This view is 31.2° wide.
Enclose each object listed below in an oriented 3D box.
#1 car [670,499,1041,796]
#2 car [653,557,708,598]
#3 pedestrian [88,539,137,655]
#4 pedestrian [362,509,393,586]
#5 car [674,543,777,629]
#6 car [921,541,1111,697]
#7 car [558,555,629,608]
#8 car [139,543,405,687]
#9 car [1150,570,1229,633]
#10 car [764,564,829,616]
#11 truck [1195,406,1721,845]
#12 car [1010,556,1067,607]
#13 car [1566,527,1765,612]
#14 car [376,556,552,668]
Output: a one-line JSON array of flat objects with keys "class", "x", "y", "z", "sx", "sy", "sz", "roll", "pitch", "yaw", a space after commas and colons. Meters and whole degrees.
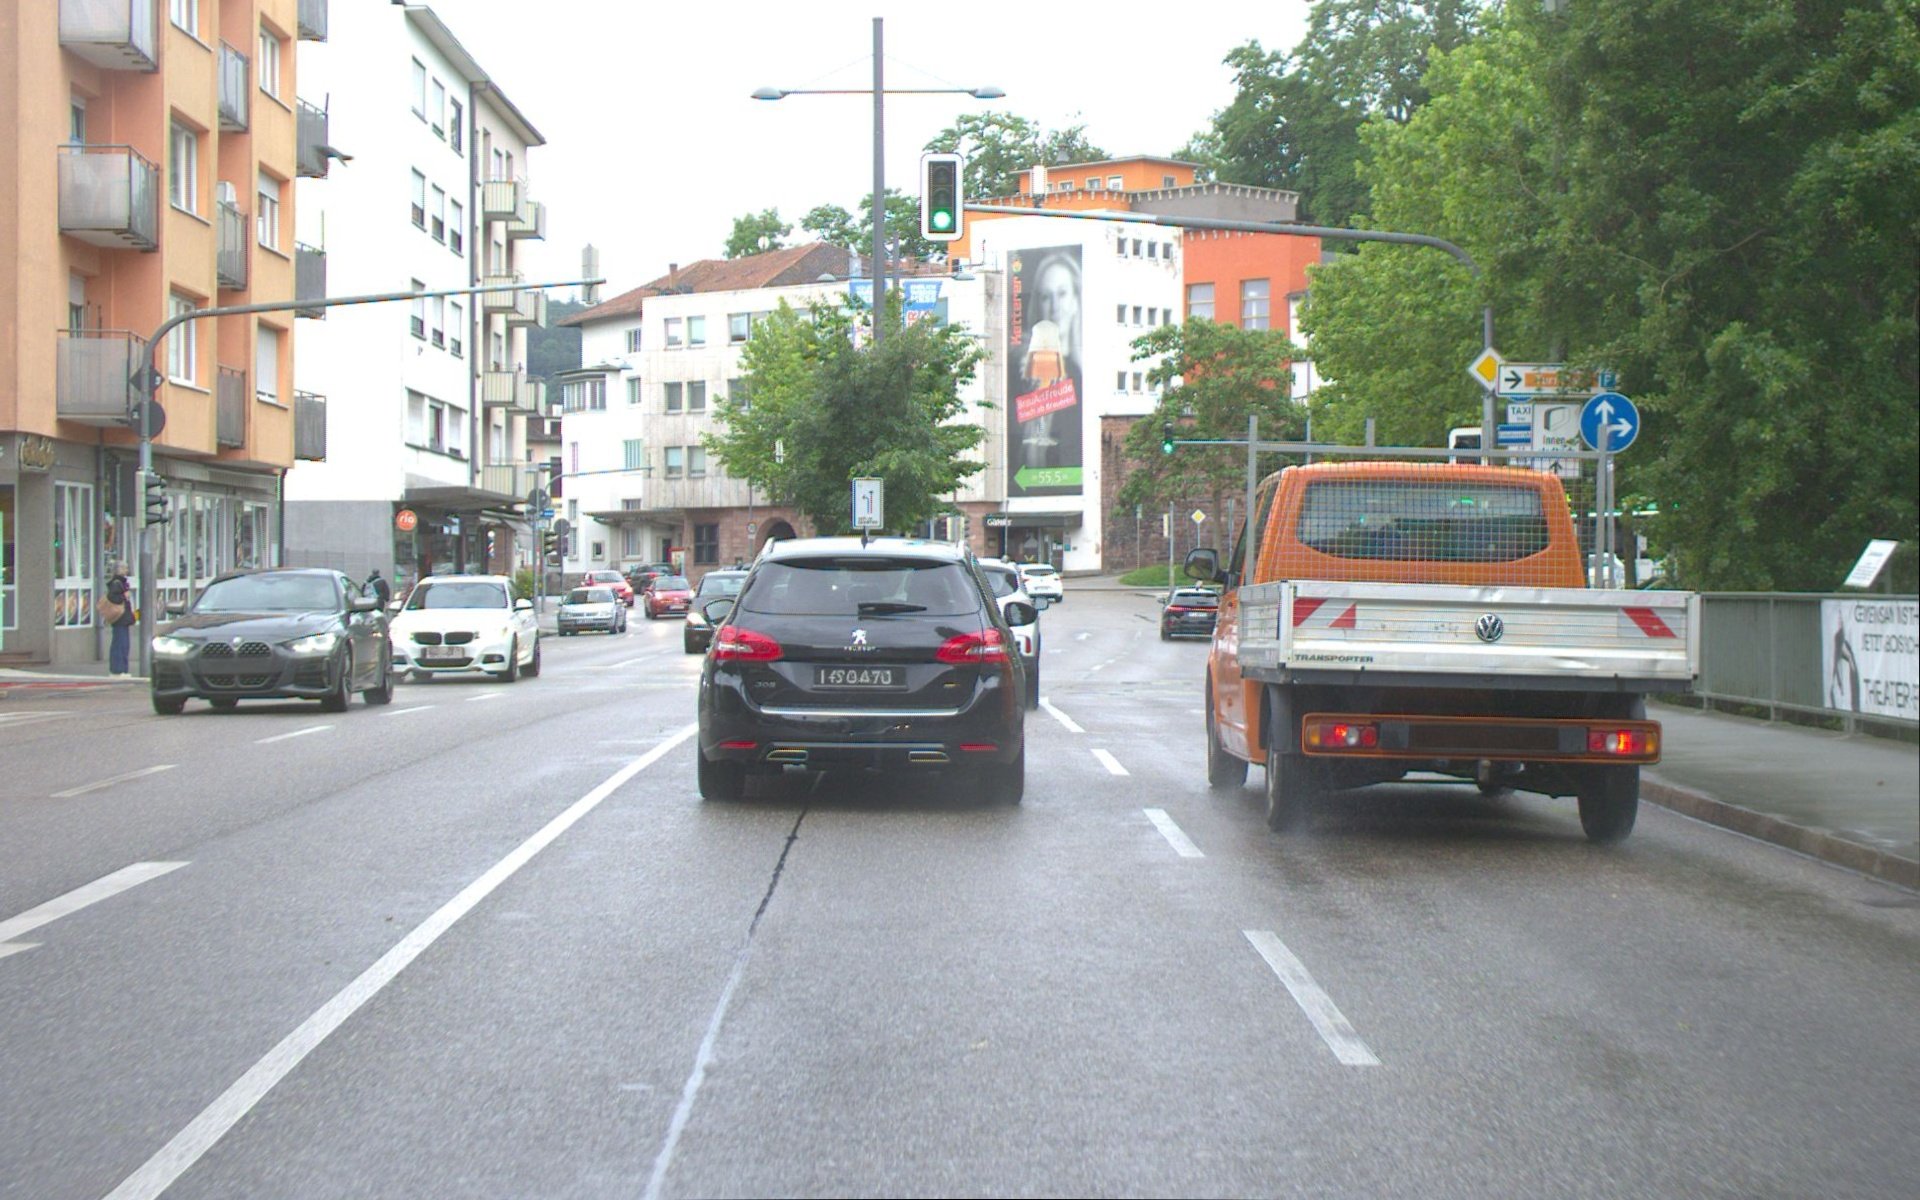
[{"class": "car", "x": -0.492, "y": 0.243, "z": 19.729, "sx": 1.795, "sy": 1.478, "sz": 4.000, "roll": 2, "pitch": 0, "yaw": 3}, {"class": "car", "x": -9.862, "y": -0.820, "z": 121.353, "sx": 1.665, "sy": 1.395, "sz": 3.877, "roll": -1, "pitch": 1, "yaw": -1}, {"class": "pedestrian", "x": -12.612, "y": -0.046, "z": 51.154, "sx": 0.530, "sy": 1.721, "sz": 0.648, "roll": 0, "pitch": 1, "yaw": 3}, {"class": "pedestrian", "x": -14.087, "y": -1.276, "z": 83.134, "sx": 0.639, "sy": 1.854, "sz": 0.524, "roll": 1, "pitch": 1, "yaw": -2}, {"class": "car", "x": -4.574, "y": -0.288, "z": 67.492, "sx": 1.736, "sy": 1.596, "sz": 3.919, "roll": -1, "pitch": 1, "yaw": 0}, {"class": "car", "x": 0.619, "y": 0.156, "z": 34.694, "sx": 1.795, "sy": 1.478, "sz": 4.000, "roll": 0, "pitch": 1, "yaw": 3}, {"class": "car", "x": -10.899, "y": -0.565, "z": 102.373, "sx": 1.777, "sy": 1.520, "sz": 3.662, "roll": 0, "pitch": 1, "yaw": -1}, {"class": "car", "x": -6.699, "y": 0.108, "z": 33.909, "sx": 1.791, "sy": 1.320, "sz": 4.407, "roll": 0, "pitch": 1, "yaw": -1}, {"class": "car", "x": 6.258, "y": 0.052, "z": 94.001, "sx": 1.644, "sy": 1.559, "sz": 3.600, "roll": 3, "pitch": -2, "yaw": -3}, {"class": "car", "x": -4.727, "y": -0.313, "z": 99.710, "sx": 1.654, "sy": 1.445, "sz": 3.543, "roll": -1, "pitch": 1, "yaw": 0}, {"class": "truck", "x": 2.493, "y": 0.058, "z": 18.472, "sx": 2.122, "sy": 2.018, "sz": 4.716, "roll": 1, "pitch": 1, "yaw": 0}, {"class": "car", "x": 2.963, "y": -0.712, "z": 129.818, "sx": 1.993, "sy": 1.815, "sz": 4.000, "roll": 1, "pitch": 1, "yaw": -1}, {"class": "car", "x": 15.502, "y": -0.677, "z": 75.703, "sx": 3.987, "sy": 1.644, "sz": 1.917, "roll": 3, "pitch": 1, "yaw": 3}, {"class": "car", "x": -7.026, "y": 0.133, "z": 49.142, "sx": 1.836, "sy": 1.504, "sz": 4.821, "roll": 0, "pitch": 1, "yaw": 0}]
